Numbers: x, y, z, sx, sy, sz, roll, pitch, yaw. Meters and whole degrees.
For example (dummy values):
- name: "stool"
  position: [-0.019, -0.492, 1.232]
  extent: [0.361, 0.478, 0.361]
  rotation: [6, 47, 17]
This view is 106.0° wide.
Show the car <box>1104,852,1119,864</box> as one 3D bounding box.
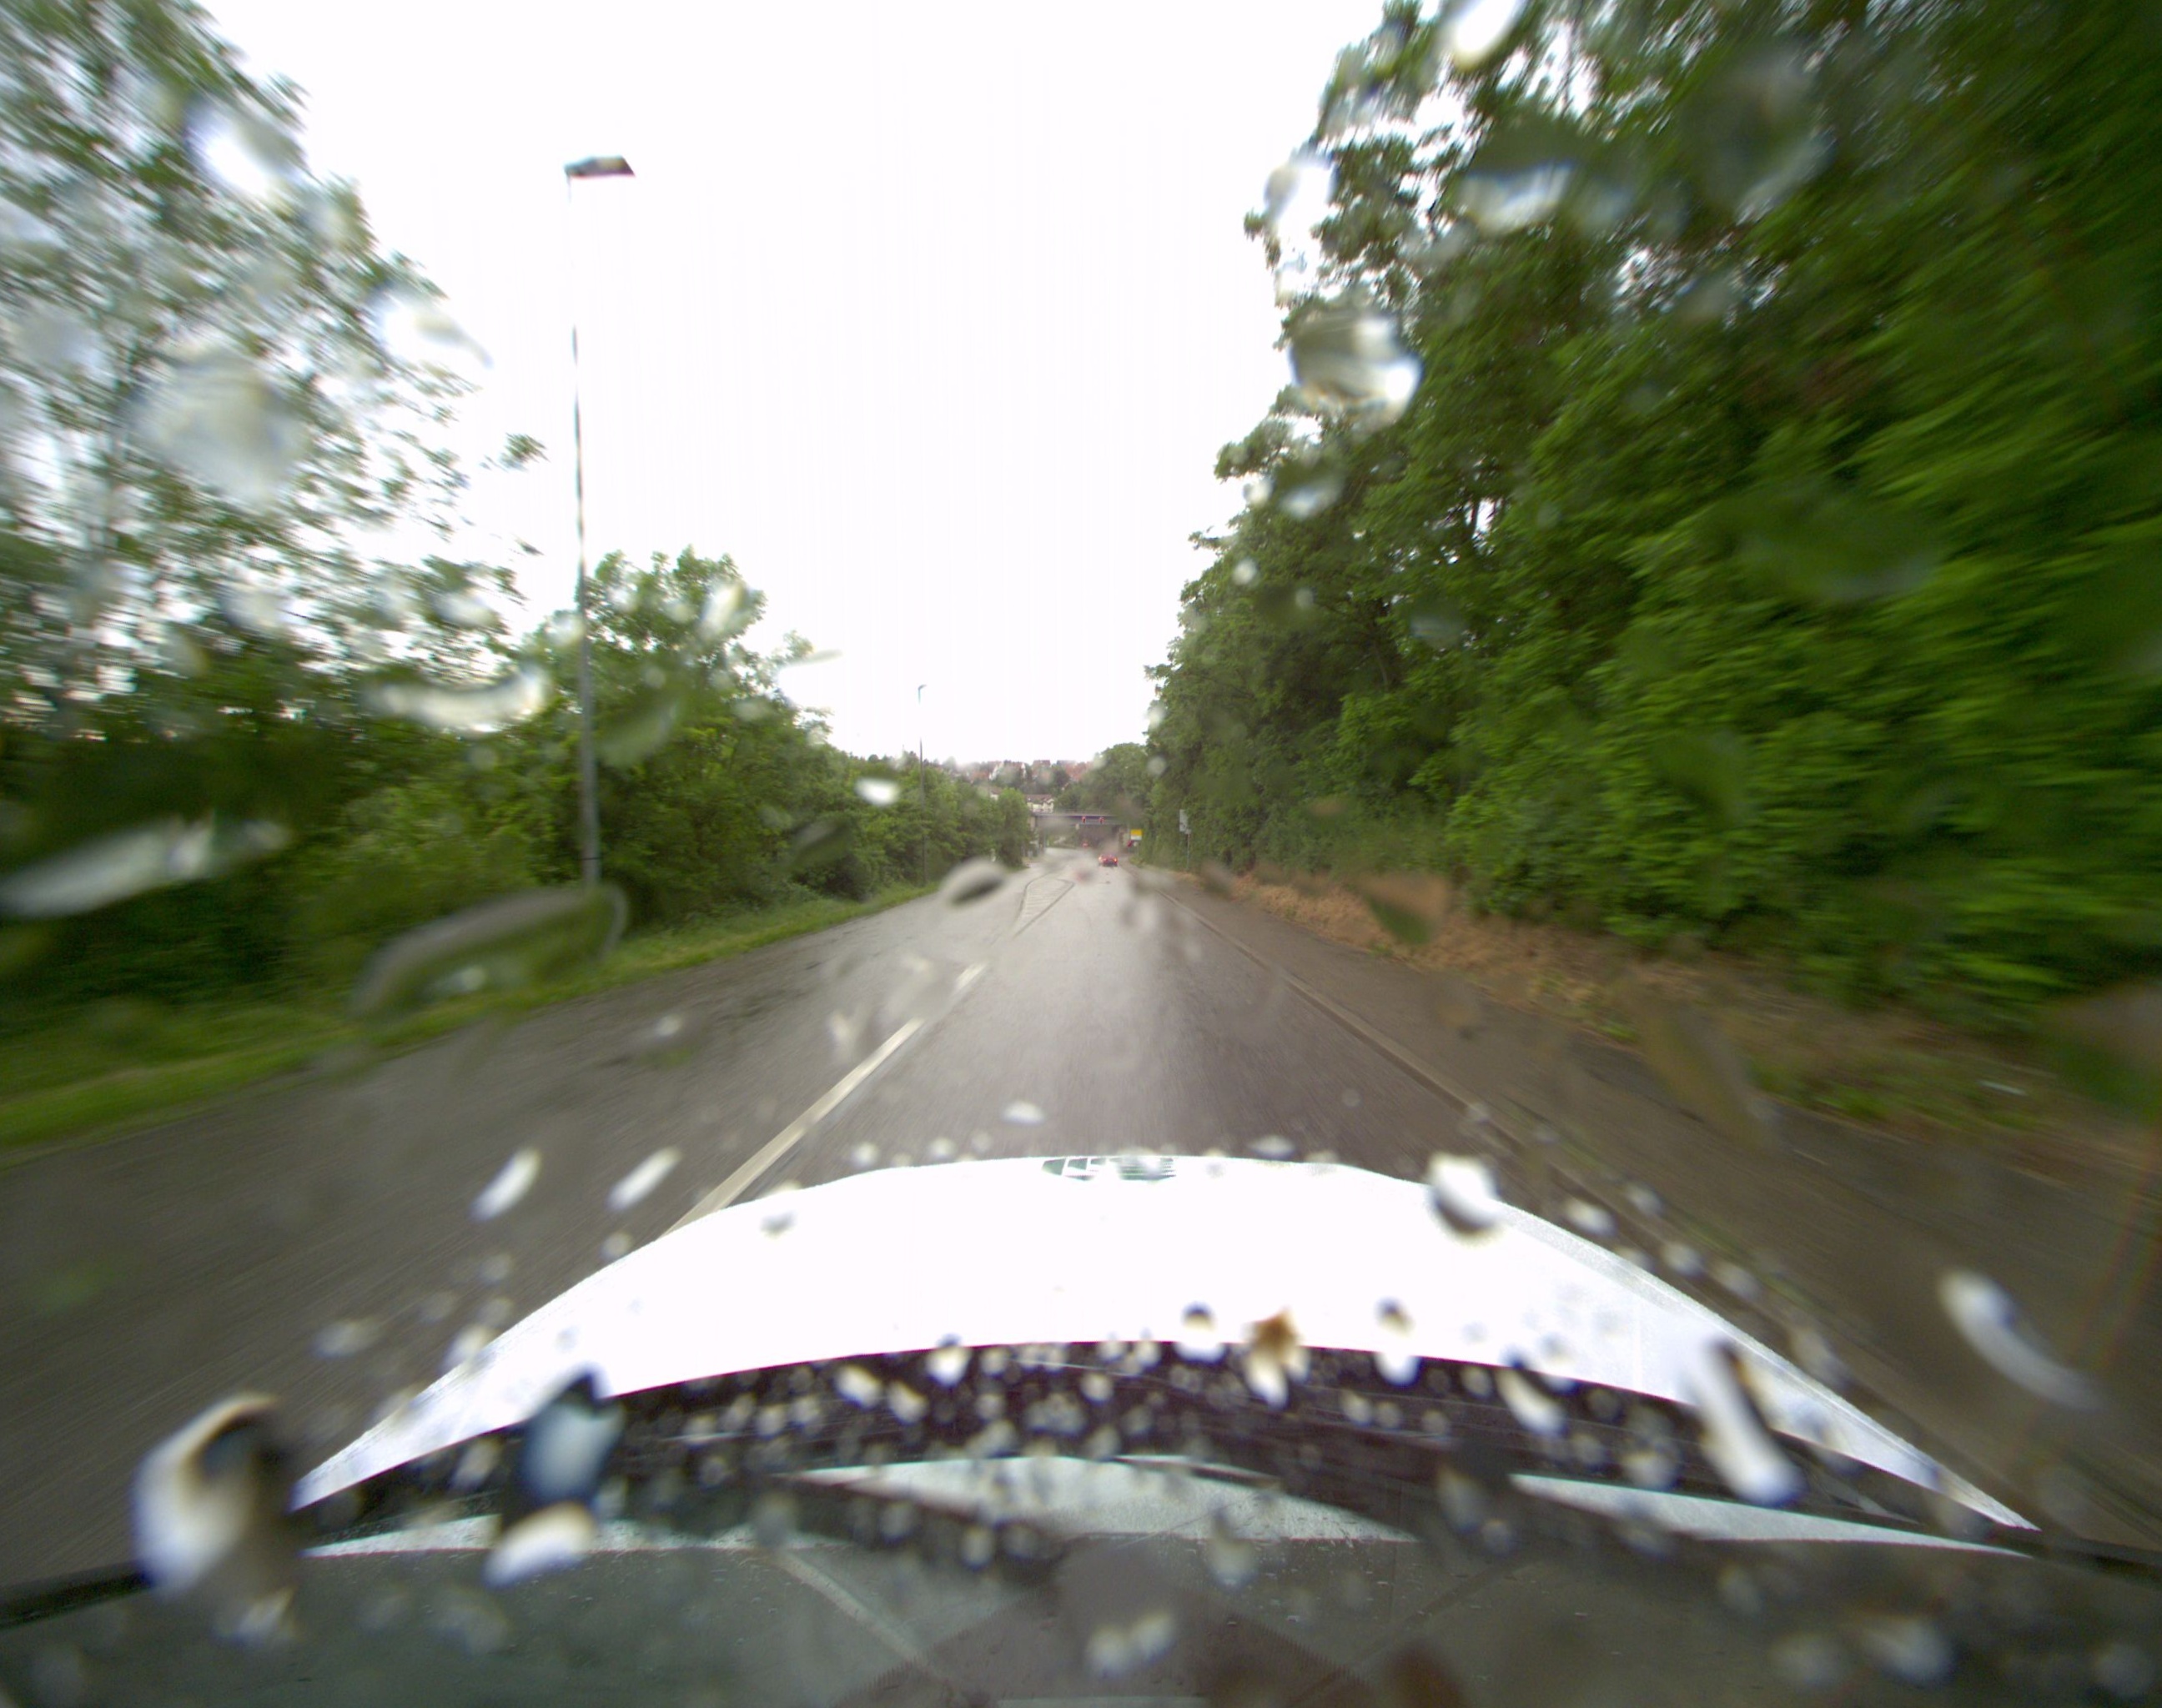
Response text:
- name: "car"
  position: [3.835, 0.505, 102.251]
  extent: [1.761, 1.380, 4.002]
  rotation: [-1, 0, 2]

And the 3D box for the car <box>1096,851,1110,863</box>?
- name: "car"
  position: [2.933, 0.364, 108.991]
  extent: [1.761, 1.563, 4.002]
  rotation: [-1, 0, 2]
